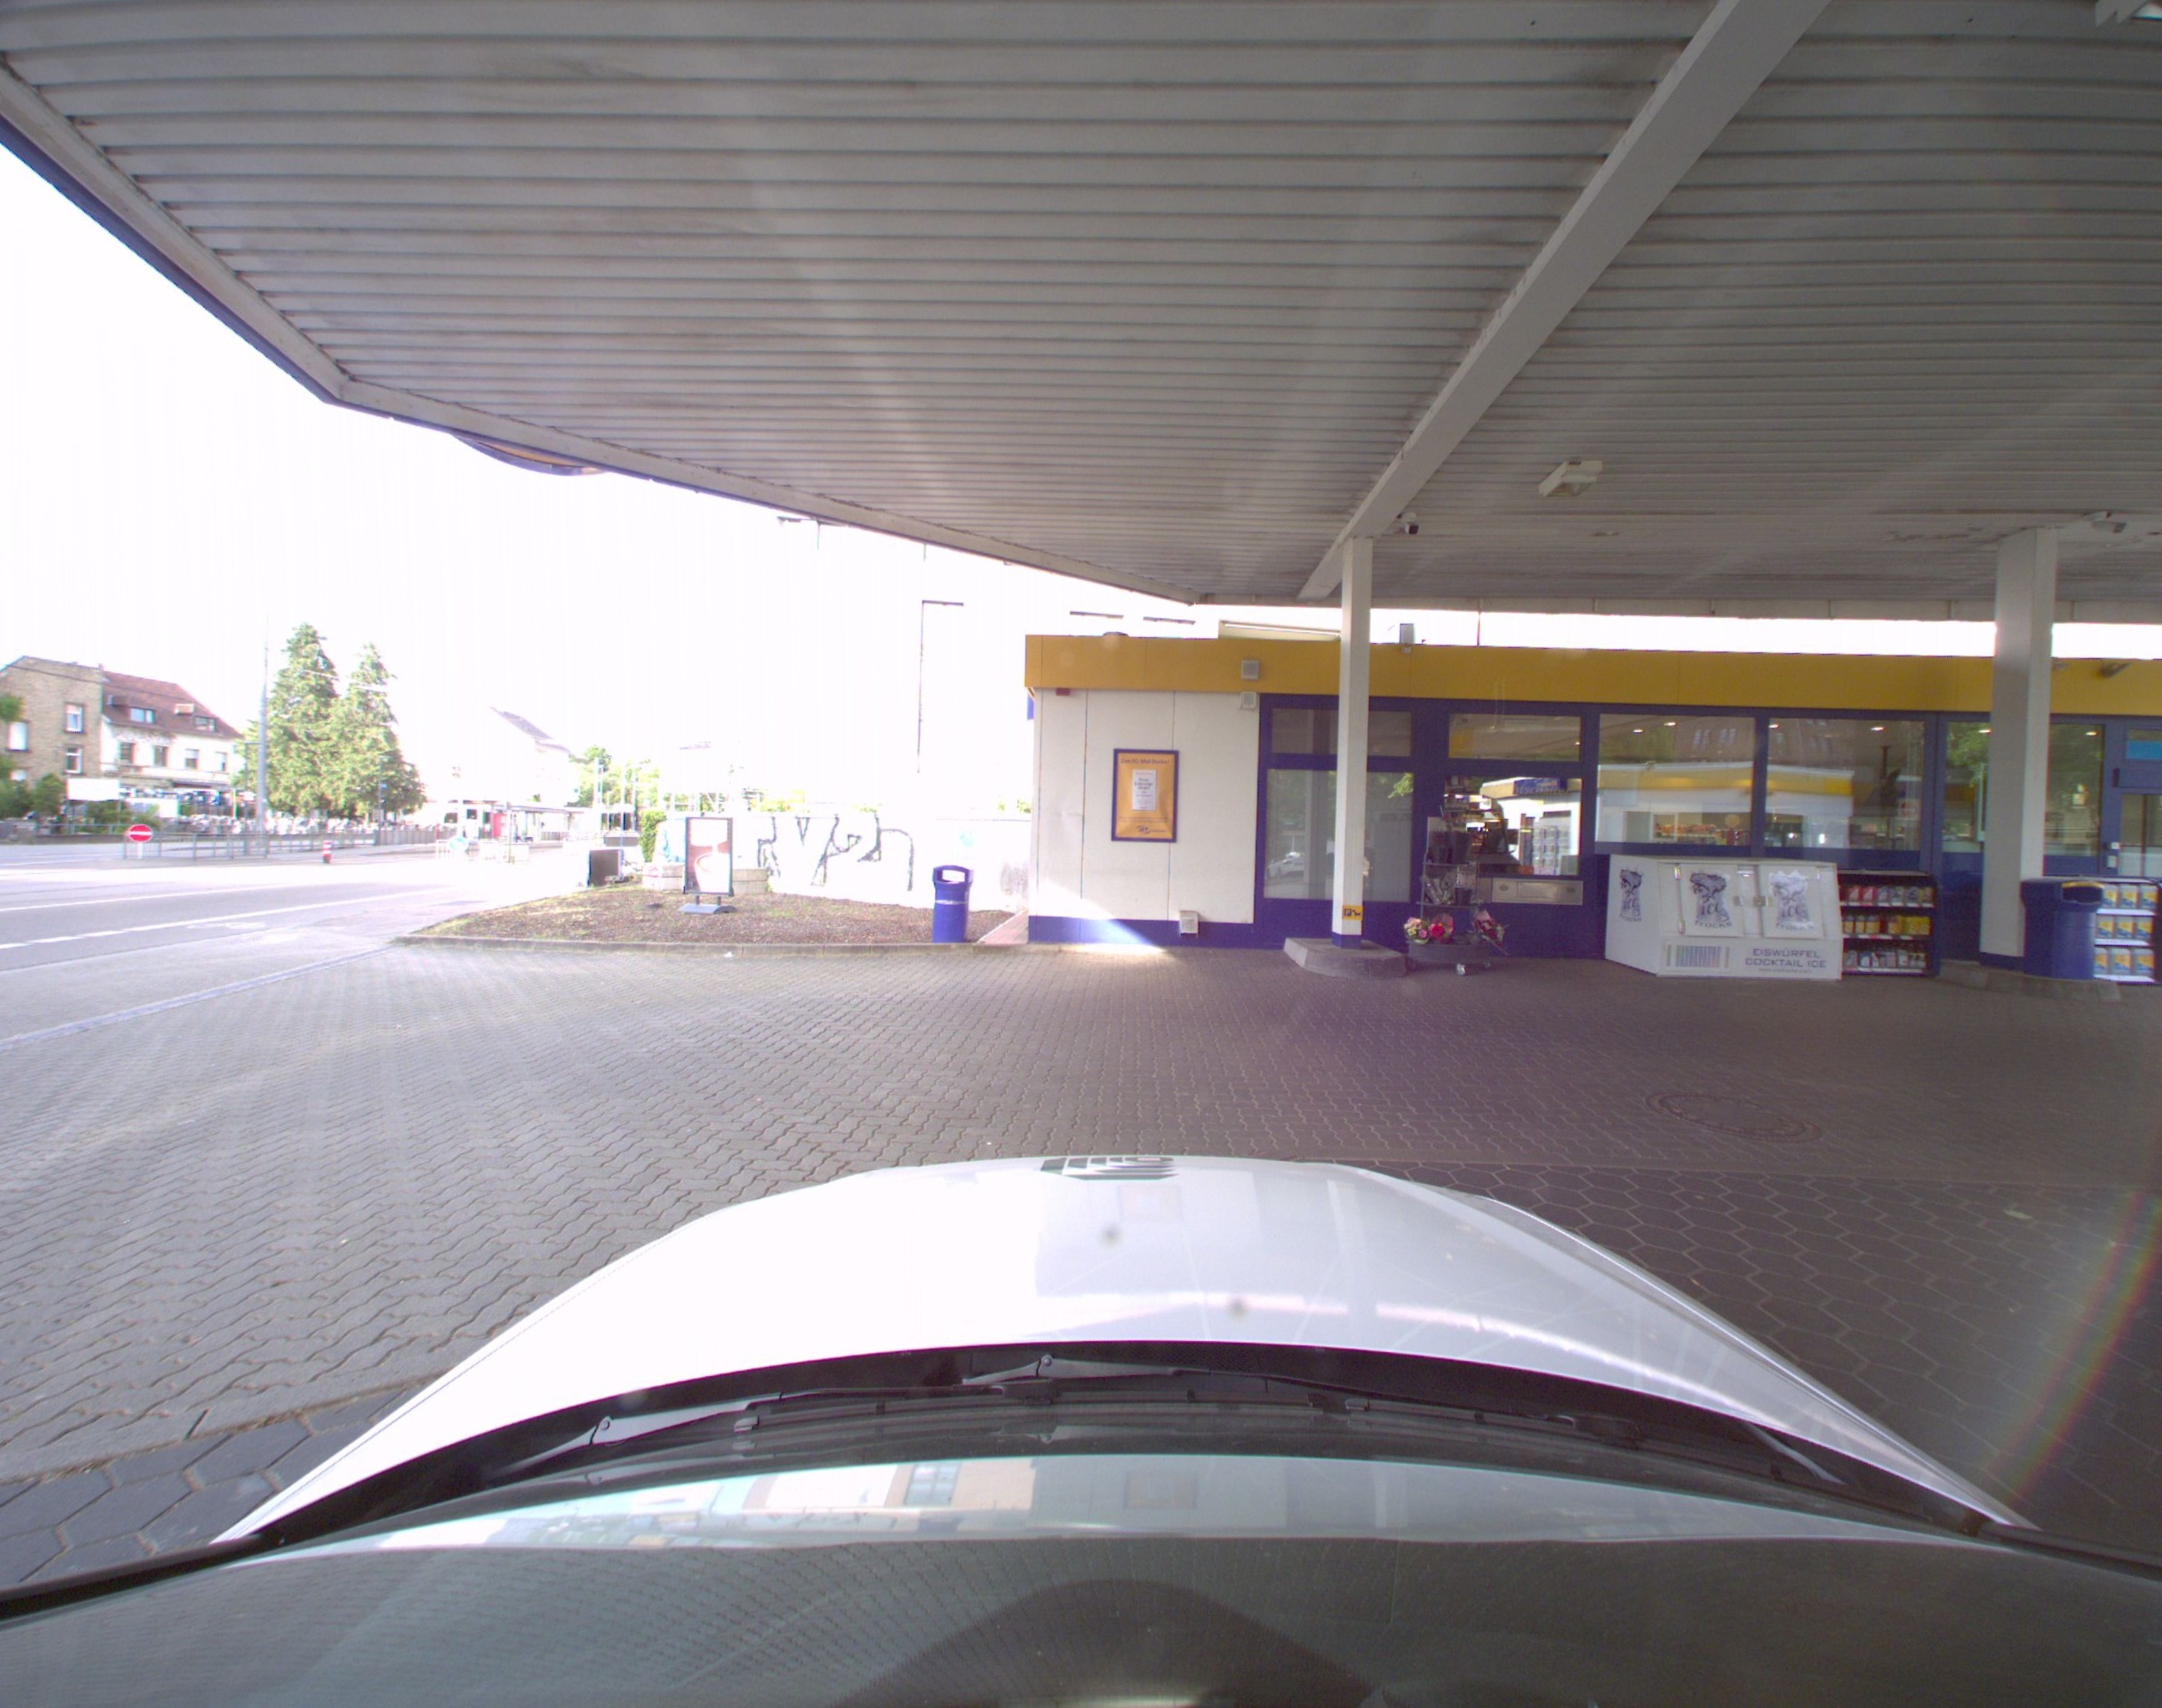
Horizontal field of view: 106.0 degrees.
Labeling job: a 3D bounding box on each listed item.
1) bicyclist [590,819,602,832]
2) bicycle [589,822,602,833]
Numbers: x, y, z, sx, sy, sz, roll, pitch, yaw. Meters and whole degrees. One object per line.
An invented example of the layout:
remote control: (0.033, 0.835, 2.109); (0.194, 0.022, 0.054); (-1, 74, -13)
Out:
bicyclist: (-57.885, -3.435, 97.193); (0.750, 1.409, 0.917); (7, -1, -13)
bicycle: (-57.897, -3.122, 97.129); (0.750, 1.203, 1.813); (8, -1, -13)
